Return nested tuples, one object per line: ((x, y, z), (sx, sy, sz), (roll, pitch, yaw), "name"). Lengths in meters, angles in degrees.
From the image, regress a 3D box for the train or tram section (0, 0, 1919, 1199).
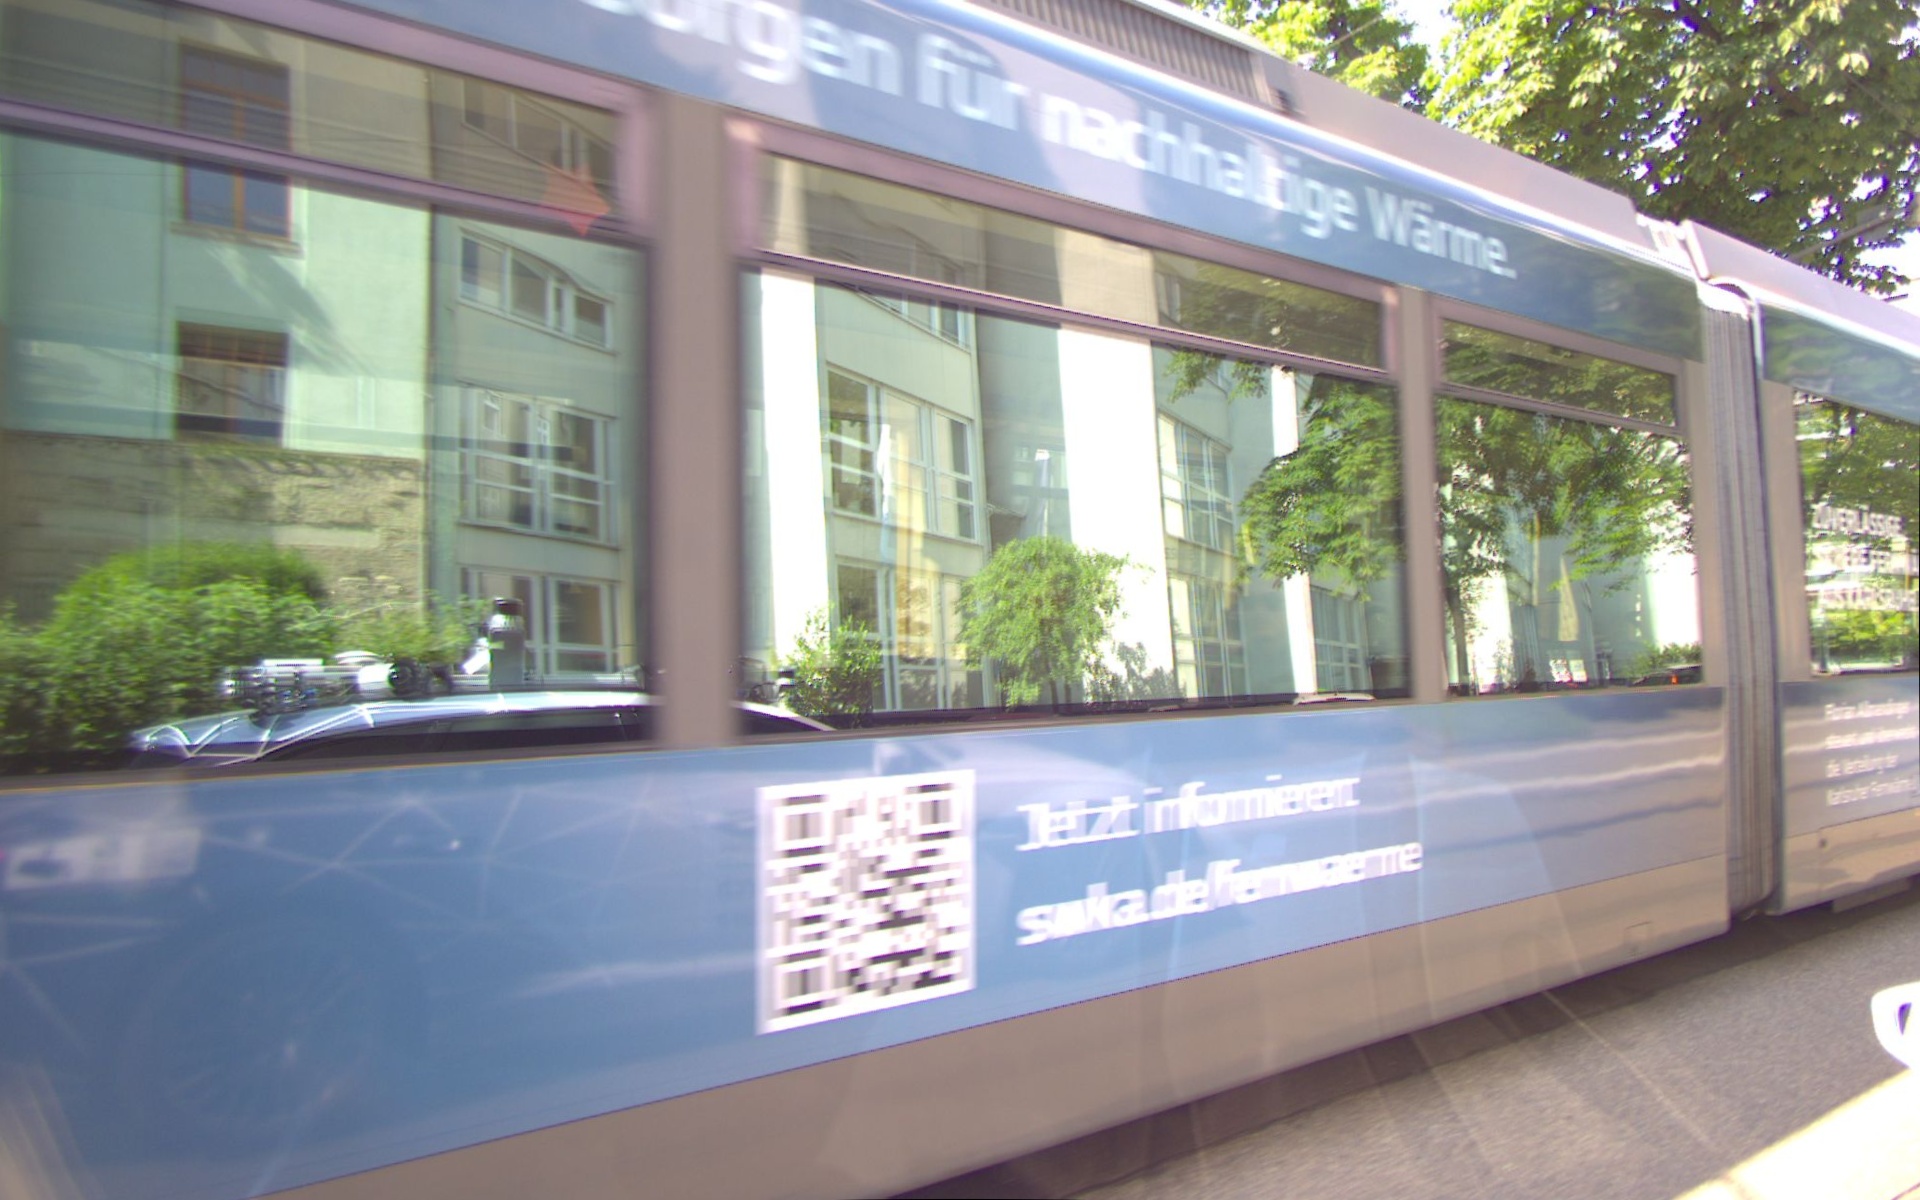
((-0.440, -0.161, 3.391), (11.336, 3.433, 2.641), (1, -3, -30), "train or tram section")

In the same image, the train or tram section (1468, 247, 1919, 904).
((10.442, 0.066, 9.695), (13.940, 3.399, 2.641), (1, -3, -30), "train or tram section")

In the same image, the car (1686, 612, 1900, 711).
((16.188, 1.122, 19.464), (4.666, 1.687, 1.741), (1, 0, -31), "car")
